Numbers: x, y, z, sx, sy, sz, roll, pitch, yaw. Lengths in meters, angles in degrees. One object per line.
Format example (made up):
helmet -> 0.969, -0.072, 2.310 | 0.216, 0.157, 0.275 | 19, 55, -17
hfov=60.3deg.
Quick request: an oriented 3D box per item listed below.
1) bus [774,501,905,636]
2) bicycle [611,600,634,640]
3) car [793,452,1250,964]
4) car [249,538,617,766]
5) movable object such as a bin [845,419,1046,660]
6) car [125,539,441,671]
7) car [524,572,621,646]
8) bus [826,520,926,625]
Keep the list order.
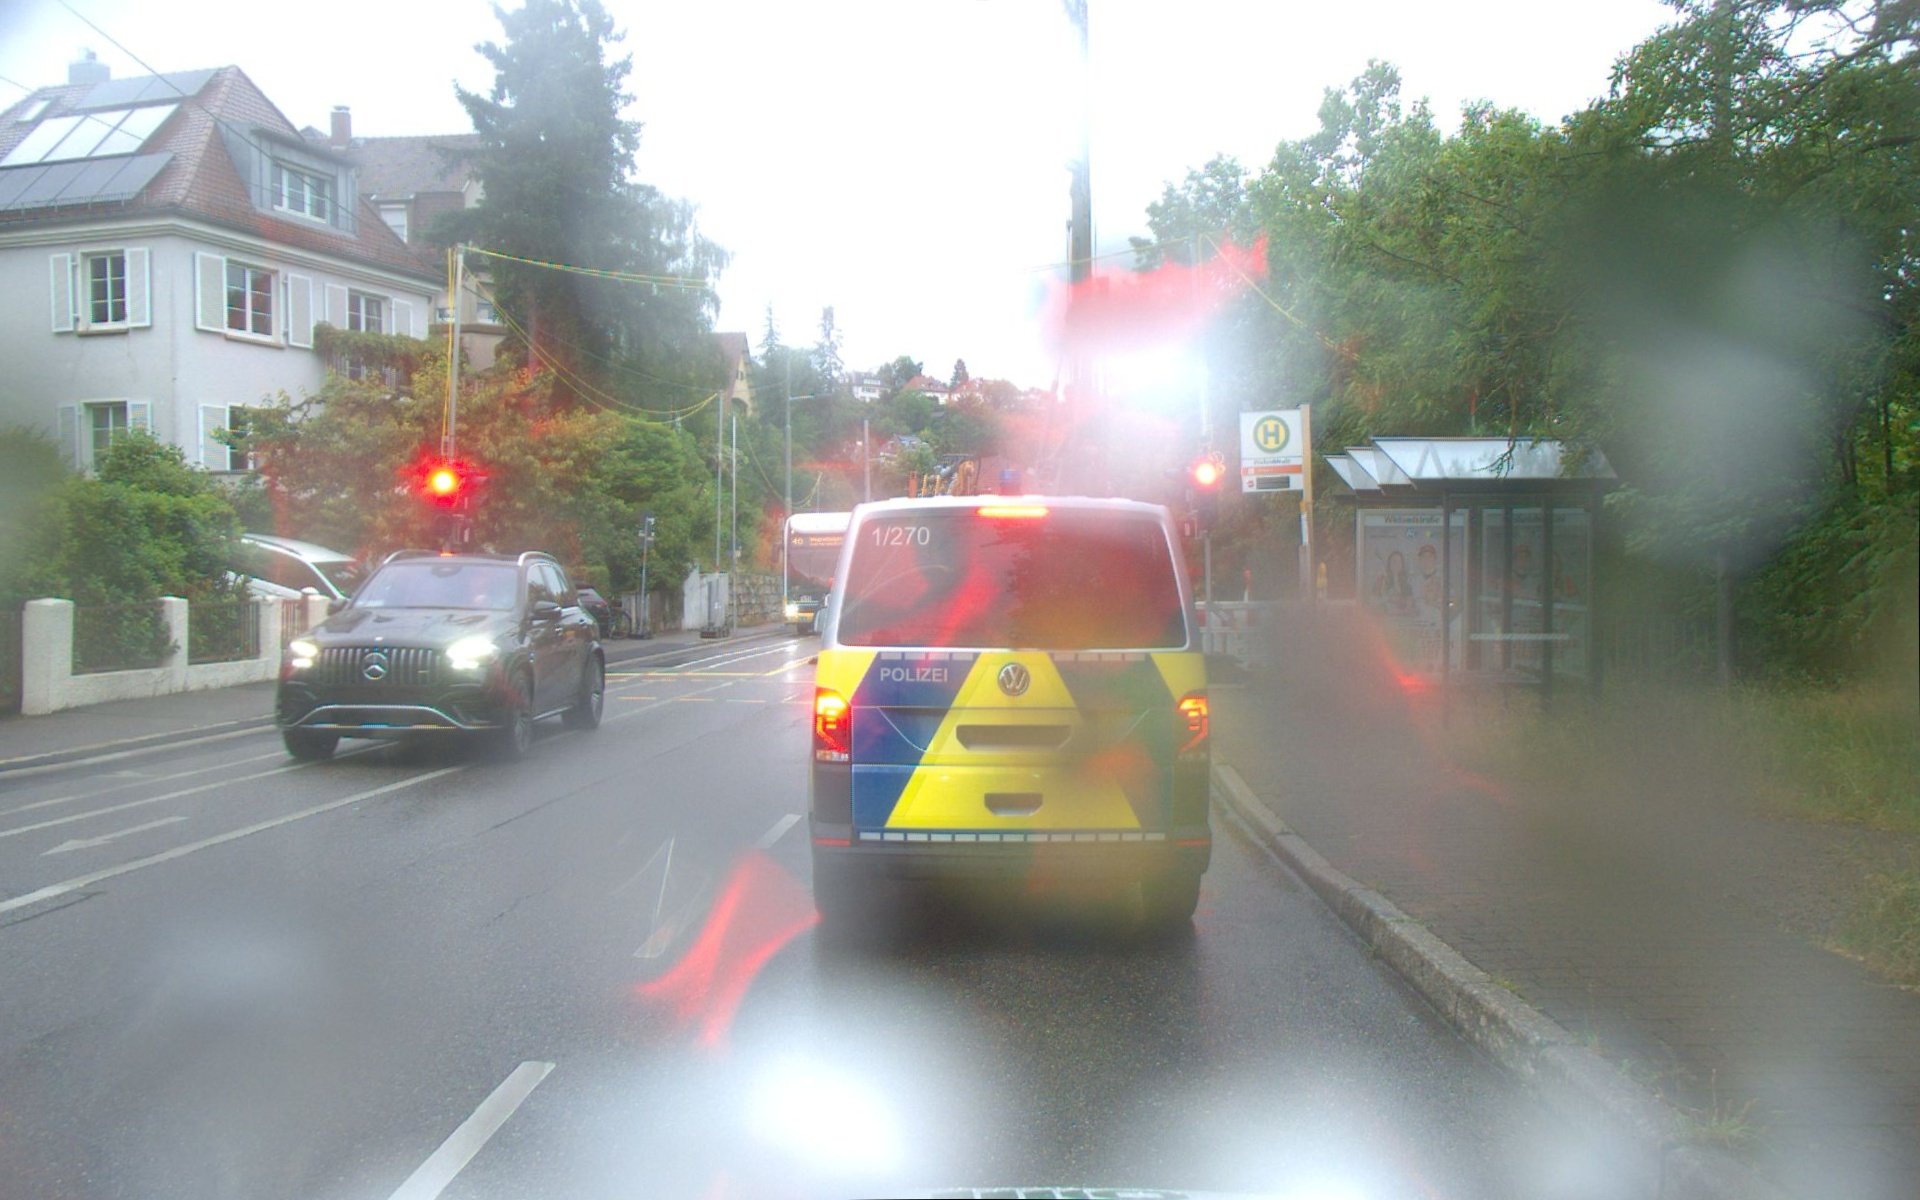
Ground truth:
bus -> -3.619, -0.949, 52.869 | 2.782, 3.783, 12.009 | 1, 0, 2
bicycle -> -8.051, 0.469, 39.456 | 0.455, 0.913, 1.628 | 0, 0, -15
car -> 0.228, 0.435, 8.822 | 1.855, 2.086, 3.999 | 1, 0, -1
car -> -4.645, 0.387, 15.376 | 1.938, 1.778, 4.553 | 1, 1, 0
movable object such as a bin -> -0.164, -1.093, 31.640 | 2.770, 4.250, 4.384 | 1, 0, 14
car -> -11.207, 0.058, 27.492 | 4.532, 2.042, 1.902 | 1, 0, 11
car -> -8.908, 0.178, 37.830 | 1.739, 1.512, 3.721 | 1, 2, -20
bus -> -3.121, -1.030, 64.814 | 2.782, 3.688, 12.009 | 1, 0, 2
